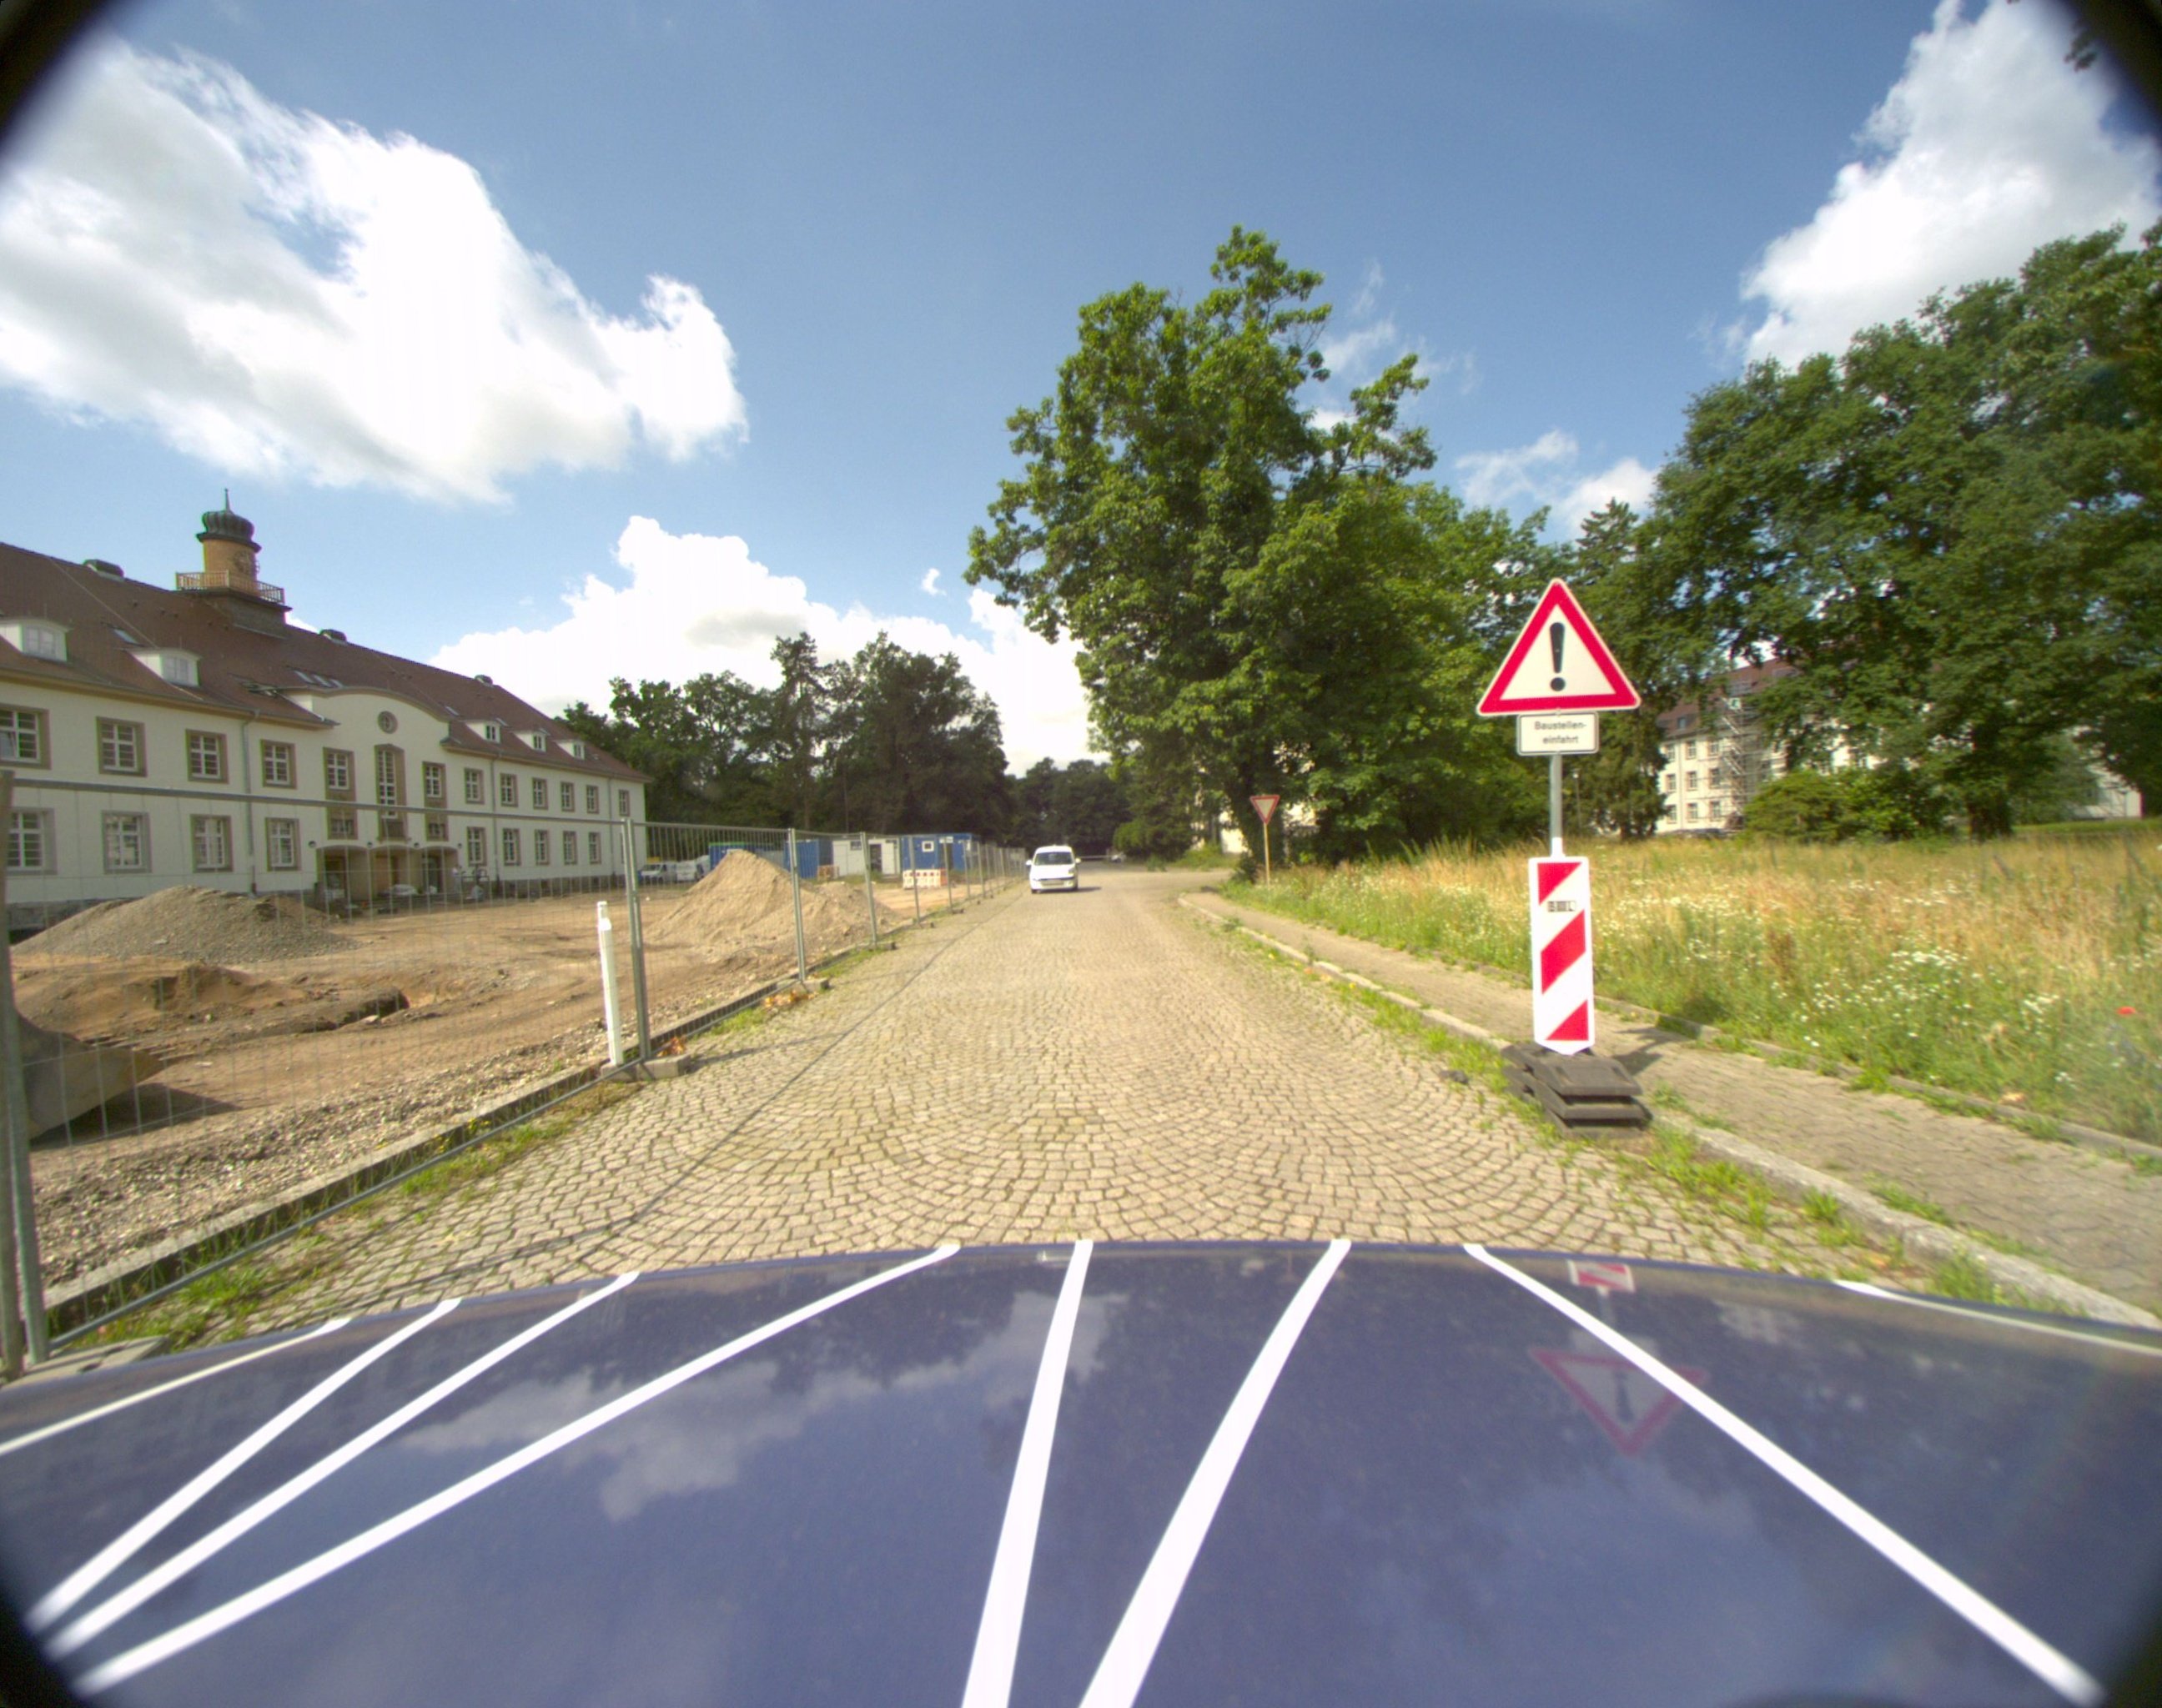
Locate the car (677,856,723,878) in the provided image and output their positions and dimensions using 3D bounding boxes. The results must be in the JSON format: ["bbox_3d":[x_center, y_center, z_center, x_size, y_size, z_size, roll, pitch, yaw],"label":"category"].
[{"bbox_3d":[-32.530,1.074,64.980,1.802,1.674,4.039,-2,1,1],"label":"car"}]

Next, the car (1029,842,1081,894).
[{"bbox_3d":[-1.066,0.545,30.521,1.839,1.857,4.830,-2,-1,-3],"label":"car"}]

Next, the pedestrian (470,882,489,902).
[{"bbox_3d":[-35.645,2.253,45.026,0.491,1.108,0.709,-2,1,-2],"label":"pedestrian"}]

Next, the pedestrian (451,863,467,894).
[{"bbox_3d":[-37.031,1.464,45.252,0.490,1.777,0.507,-2,1,22],"label":"pedestrian"}]

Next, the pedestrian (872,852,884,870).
[{"bbox_3d":[-14.355,0.493,53.781,0.602,1.236,0.682,-2,1,-2],"label":"pedestrian"}]

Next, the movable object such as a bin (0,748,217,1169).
[{"bbox_3d":[-8.324,0.651,3.291,2.144,2.507,5.666,-1,0,28],"label":"movable object such as a bin"}]

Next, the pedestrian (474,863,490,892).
[{"bbox_3d":[-36.943,1.446,46.843,0.491,1.777,0.506,-3,1,-3],"label":"pedestrian"}]

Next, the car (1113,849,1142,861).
[{"bbox_3d":[6.853,0.136,112.912,4.084,1.634,1.767,-2,1,-1],"label":"car"}]

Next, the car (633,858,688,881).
[{"bbox_3d":[-35.701,1.276,64.641,1.884,1.718,4.707,-2,1,1],"label":"car"}]
